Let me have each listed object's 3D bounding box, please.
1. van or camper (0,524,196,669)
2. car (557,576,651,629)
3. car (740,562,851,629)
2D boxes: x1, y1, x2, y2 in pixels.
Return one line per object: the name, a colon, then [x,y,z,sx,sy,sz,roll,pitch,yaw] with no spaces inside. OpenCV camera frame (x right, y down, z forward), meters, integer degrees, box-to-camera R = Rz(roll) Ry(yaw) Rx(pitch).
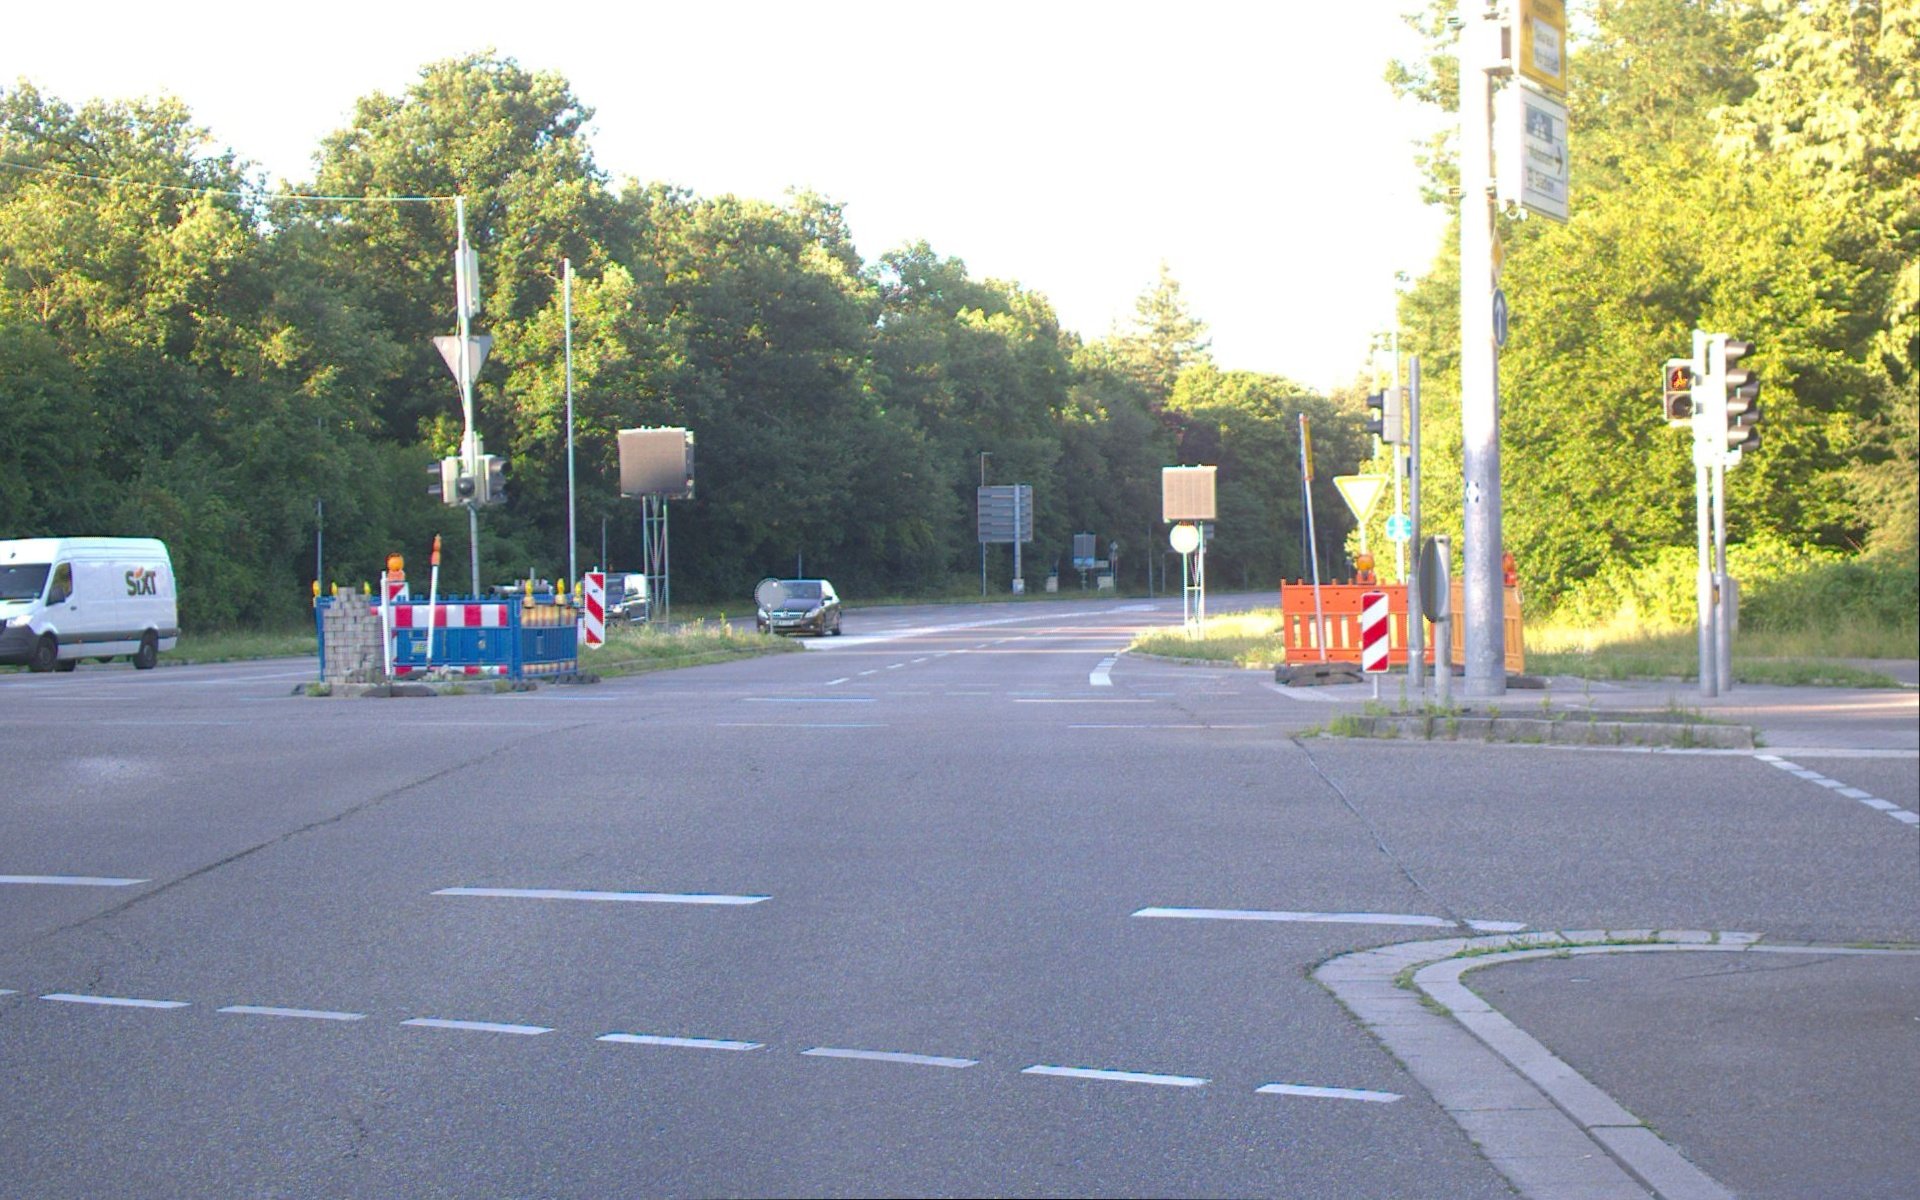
van or camper: [-17.686,-0.118,66.269,2.887,2.643,7.117,0,1,14]
car: [-11.455,0.055,110.836,1.994,1.634,3.998,0,1,10]
car: [-4.389,-0.140,92.404,1.994,1.634,3.998,-2,2,12]
